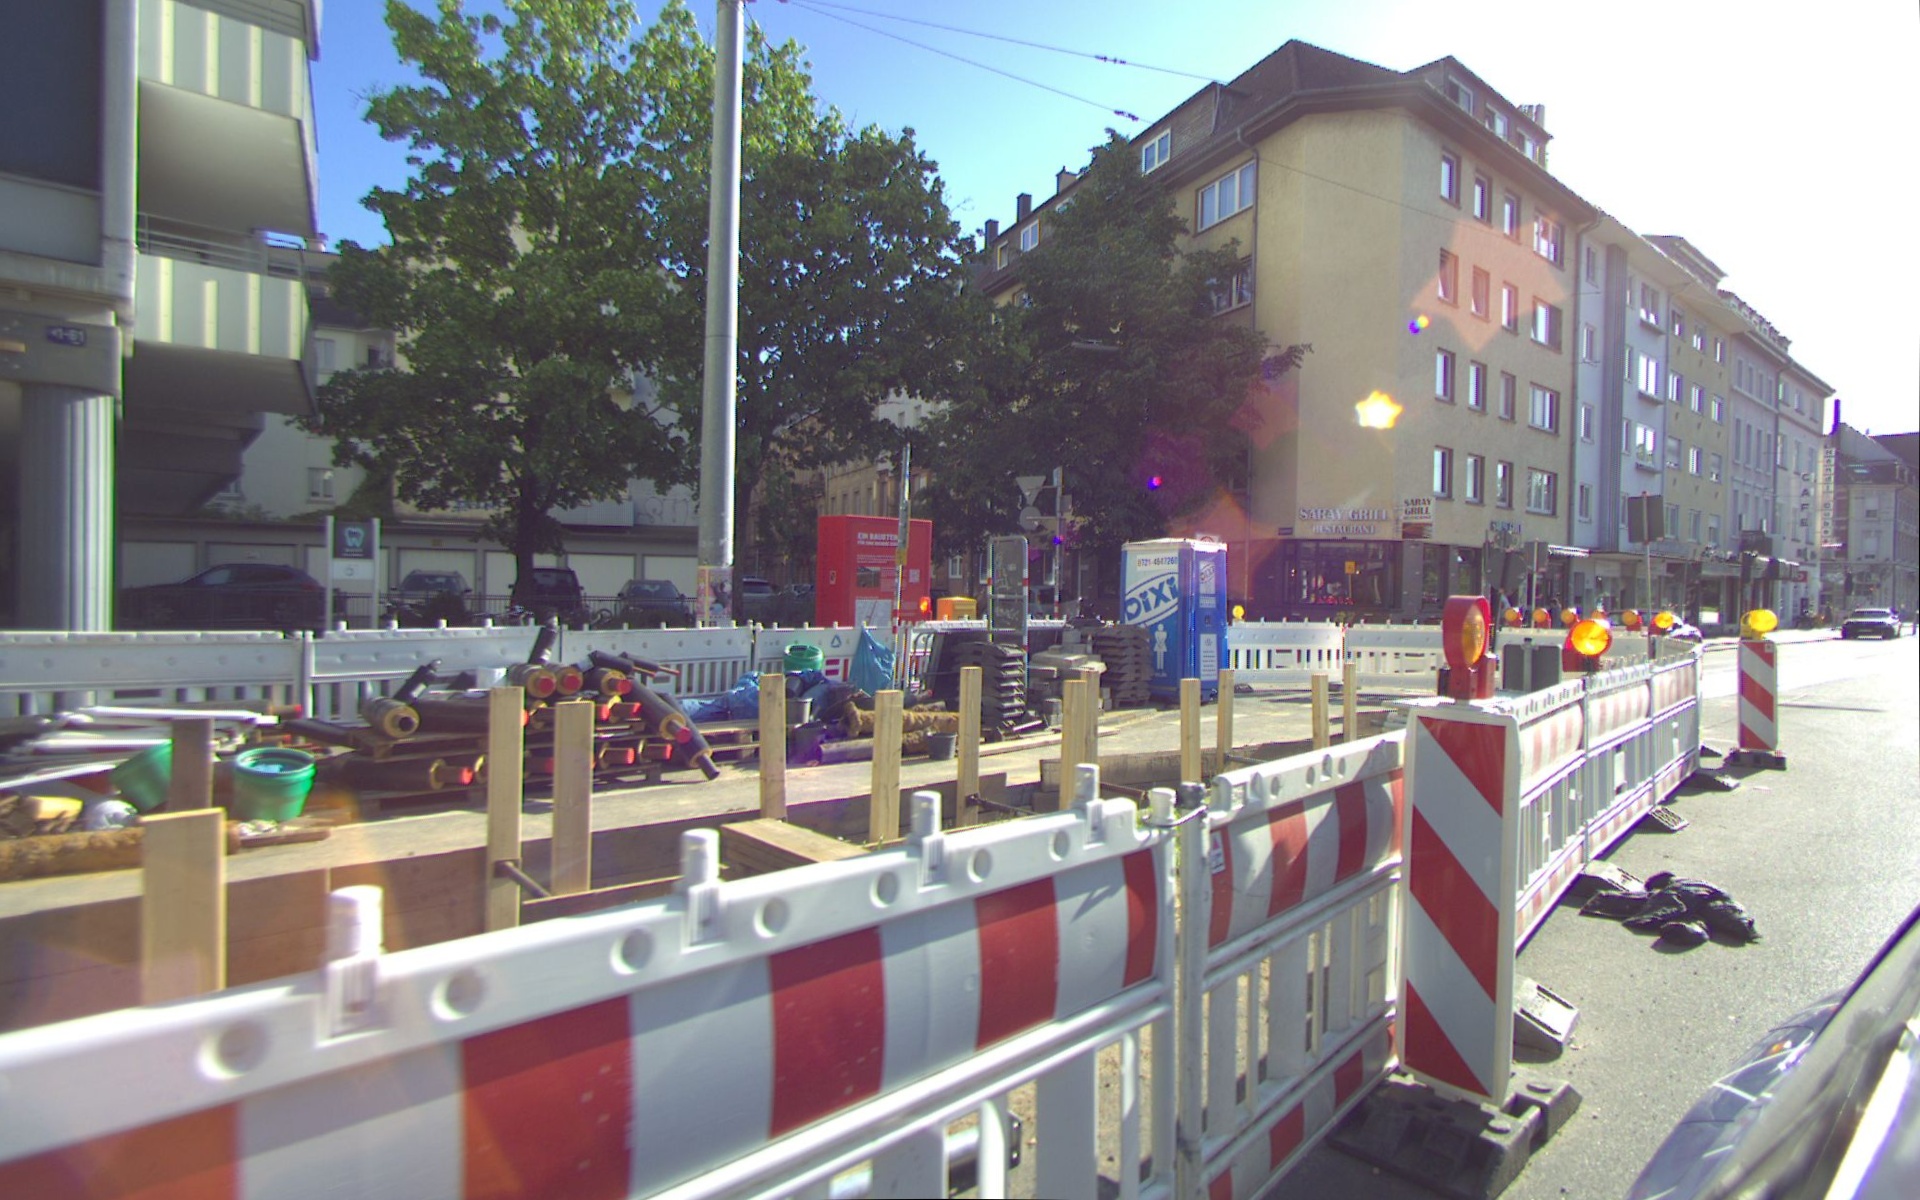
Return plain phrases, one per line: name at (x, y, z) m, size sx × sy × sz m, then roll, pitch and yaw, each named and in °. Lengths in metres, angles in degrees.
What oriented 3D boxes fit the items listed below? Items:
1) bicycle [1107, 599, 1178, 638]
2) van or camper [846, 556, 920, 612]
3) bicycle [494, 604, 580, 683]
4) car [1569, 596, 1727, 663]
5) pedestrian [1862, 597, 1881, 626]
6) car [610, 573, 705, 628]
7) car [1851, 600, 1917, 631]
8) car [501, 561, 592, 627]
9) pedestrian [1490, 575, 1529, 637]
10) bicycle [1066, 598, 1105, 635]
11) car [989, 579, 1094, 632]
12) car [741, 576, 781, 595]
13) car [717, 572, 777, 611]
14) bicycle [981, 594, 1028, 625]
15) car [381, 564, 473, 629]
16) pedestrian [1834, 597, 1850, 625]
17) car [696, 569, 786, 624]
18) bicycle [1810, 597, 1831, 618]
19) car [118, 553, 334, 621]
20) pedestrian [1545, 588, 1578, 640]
bicycle at (5.145, 0.521, 28.496) m, size 1.905 × 1.017 × 0.369 m, roll 2°, pitch 0°, yaw -4°
van or camper at (-3.853, -0.817, 49.723) m, size 2.055 × 2.580 × 5.365 m, roll 1°, pitch 1°, yaw -22°
bicycle at (-5.739, 0.555, 13.833) m, size 0.996 × 0.955 × 2.039 m, roll 1°, pitch 1°, yaw -21°
car at (16.920, 0.652, 24.783) m, size 5.067 × 1.461 × 1.876 m, roll 0°, pitch 1°, yaw -40°
pedestrian at (56.363, 0.708, 62.581) m, size 0.785 × 1.712 × 0.775 m, roll 3°, pitch -2°, yaw -41°
car at (-8.611, -0.033, 28.596) m, size 2.049 × 1.436 × 4.288 m, roll 0°, pitch 1°, yaw -24°
car at (44.468, 0.714, 48.688) m, size 4.636 × 1.448 × 1.902 m, roll 0°, pitch 0°, yaw -42°
car at (-11.263, -0.184, 27.438) m, size 2.110 × 1.625 × 4.241 m, roll 0°, pitch 1°, yaw -24°
pedestrian at (17.075, 0.169, 31.448) m, size 0.884 × 1.877 × 0.731 m, roll 0°, pitch 1°, yaw -38°
bicycle at (3.841, 0.499, 30.947) m, size 0.367 × 1.096 × 1.803 m, roll 1°, pitch 1°, yaw 35°
car at (2.670, 0.145, 34.333) m, size 1.958 × 1.662 × 4.257 m, roll 2°, pitch 1°, yaw -19°
car at (-14.545, -1.040, 73.757) m, size 1.958 × 1.282 × 4.256 m, roll 1°, pitch 1°, yaw -24°
car at (-10.735, -0.468, 50.754) m, size 1.959 × 1.845 × 4.256 m, roll 1°, pitch 1°, yaw -26°
bicycle at (1.657, 0.356, 37.439) m, size 1.789 × 1.096 × 0.370 m, roll 1°, pitch 1°, yaw -28°
car at (-13.831, -0.135, 26.463) m, size 1.802 × 1.542 × 4.505 m, roll 0°, pitch 1°, yaw -24°
pedestrian at (55.675, 0.680, 63.853) m, size 0.665 × 1.711 × 0.663 m, roll 0°, pitch 1°, yaw -41°
car at (-6.589, -0.140, 30.136) m, size 1.949 × 1.504 × 4.387 m, roll 1°, pitch 1°, yaw -21°
bicycle at (47.836, 0.420, 56.261) m, size 0.692 × 1.122 × 1.842 m, roll 1°, pitch 1°, yaw 35°
car at (-19.353, -0.344, 26.785) m, size 4.419 × 1.657 × 2.151 m, roll 0°, pitch 1°, yaw -42°
pedestrian at (18.269, 0.413, 30.743) m, size 0.640 × 1.525 × 0.672 m, roll 0°, pitch 1°, yaw -40°
